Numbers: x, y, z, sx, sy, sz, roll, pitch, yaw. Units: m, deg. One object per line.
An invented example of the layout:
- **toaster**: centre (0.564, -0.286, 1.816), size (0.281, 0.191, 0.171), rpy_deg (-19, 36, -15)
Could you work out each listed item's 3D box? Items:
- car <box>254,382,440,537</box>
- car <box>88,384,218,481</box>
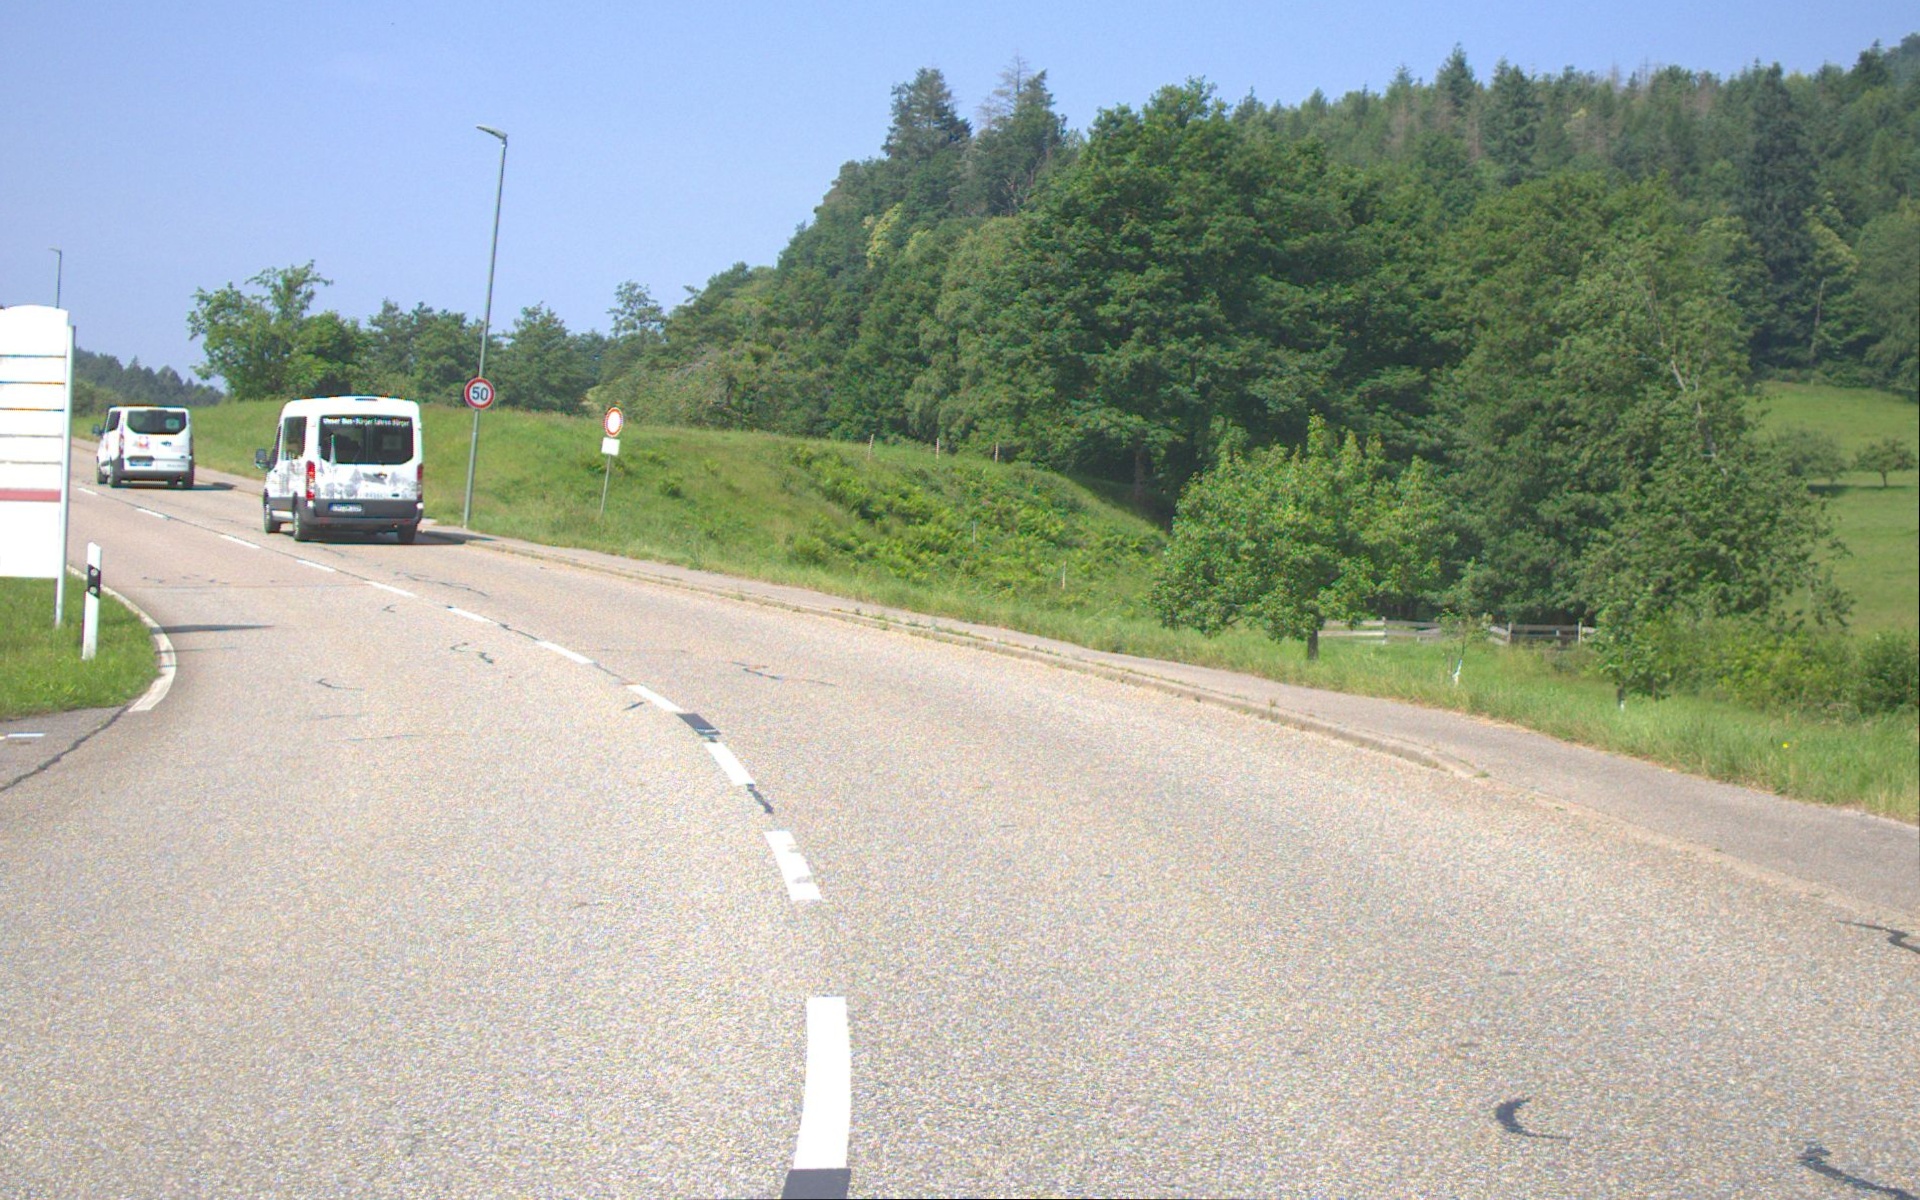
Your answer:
- **car**: centre (-10.601, -2.412, 59.151), size (2.222, 2.517, 4.986), rpy_deg (-2, 2, -20)
- **car**: centre (-19.958, -4.117, 84.891), size (2.222, 2.279, 4.986), rpy_deg (-2, 3, -23)
